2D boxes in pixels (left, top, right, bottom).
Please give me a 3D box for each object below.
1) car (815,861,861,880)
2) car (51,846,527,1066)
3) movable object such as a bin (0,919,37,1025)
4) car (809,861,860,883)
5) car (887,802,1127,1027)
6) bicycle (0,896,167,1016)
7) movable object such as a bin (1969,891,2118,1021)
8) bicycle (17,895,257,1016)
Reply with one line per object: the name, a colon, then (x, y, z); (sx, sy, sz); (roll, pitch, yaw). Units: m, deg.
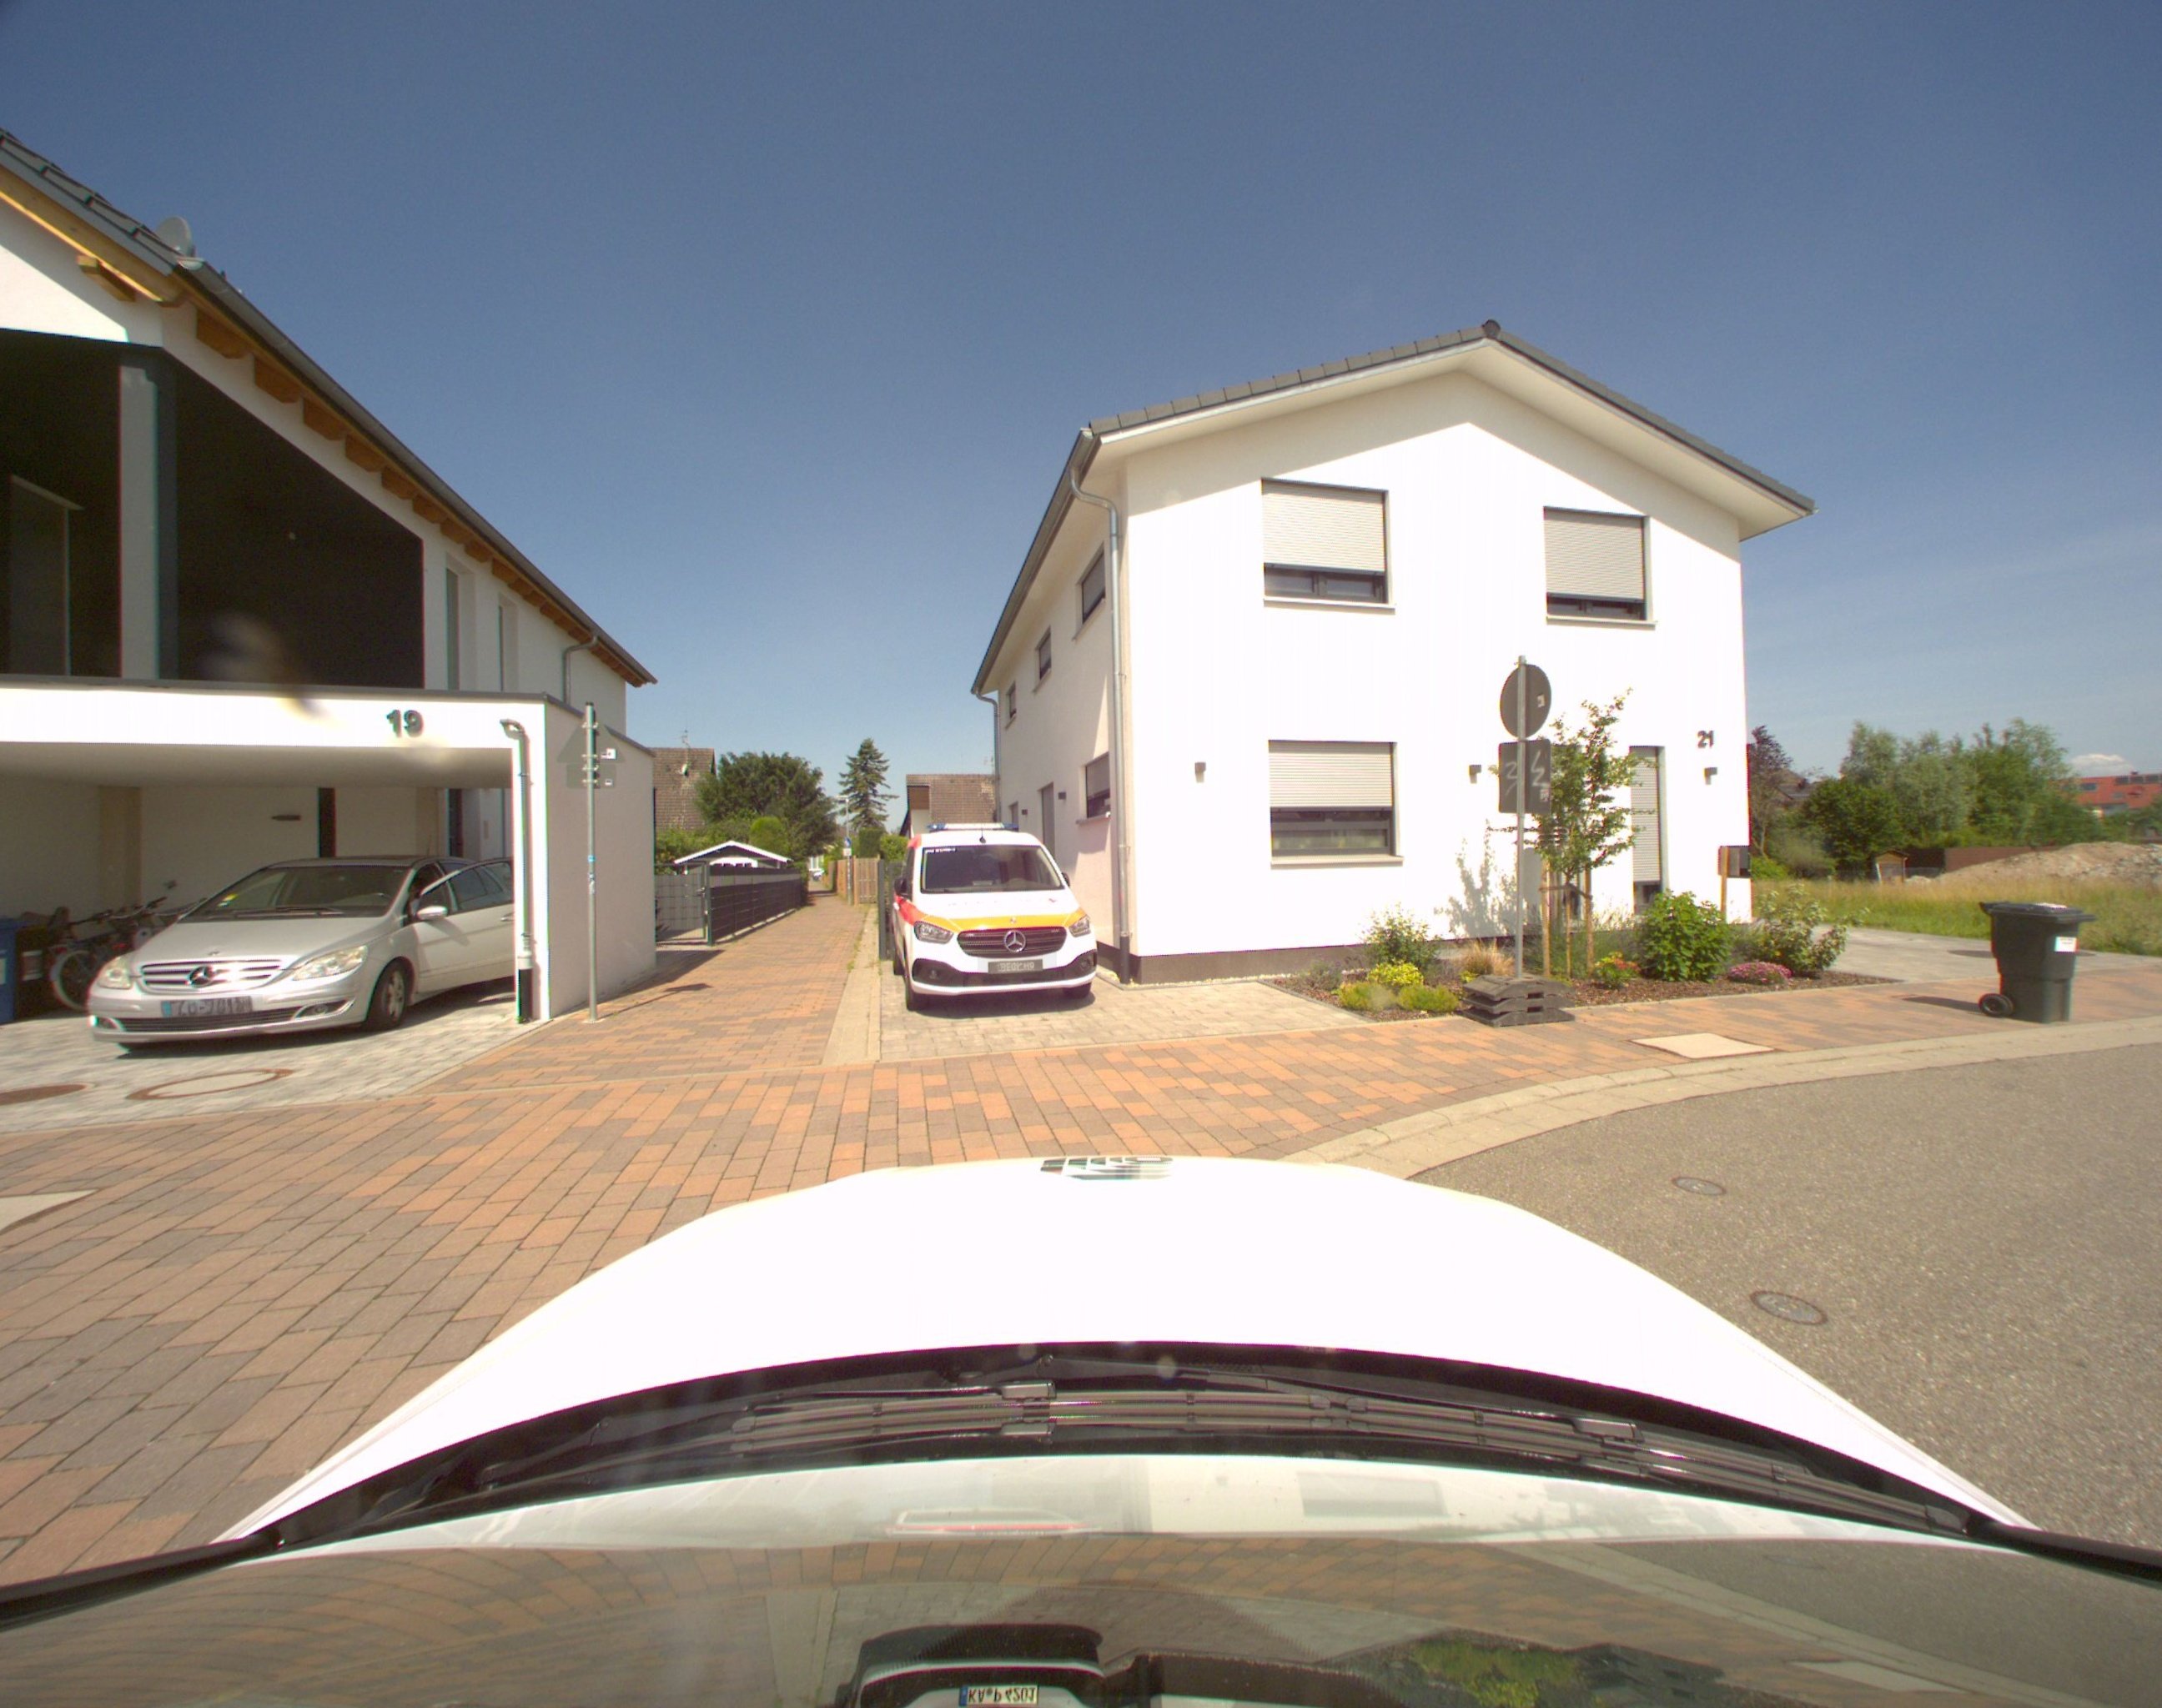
car: (-23.665, 1.622, 79.411); (4.155, 1.717, 1.895); (-1, -1, -16)
car: (-7.294, 0.782, 8.168); (1.744, 1.562, 4.139); (-1, -1, -18)
movable object such as a bin: (-10.642, 1.140, 7.762); (0.676, 0.987, 0.497); (0, -1, -18)
car: (-21.454, 1.550, 71.048); (4.155, 1.717, 1.895); (-1, -1, -16)
car: (-1.154, 0.530, 9.369); (1.936, 1.875, 4.726); (-1, -1, -15)
bicycle: (-11.471, 1.079, 9.080); (0.779, 1.127, 2.118); (0, -1, -21)
movable object such as a bin: (7.703, 0.789, 6.532); (0.500, 0.948, 0.621); (0, -1, -17)
bicycle: (-10.610, 1.075, 9.298); (0.730, 1.127, 2.121); (0, -1, -16)
